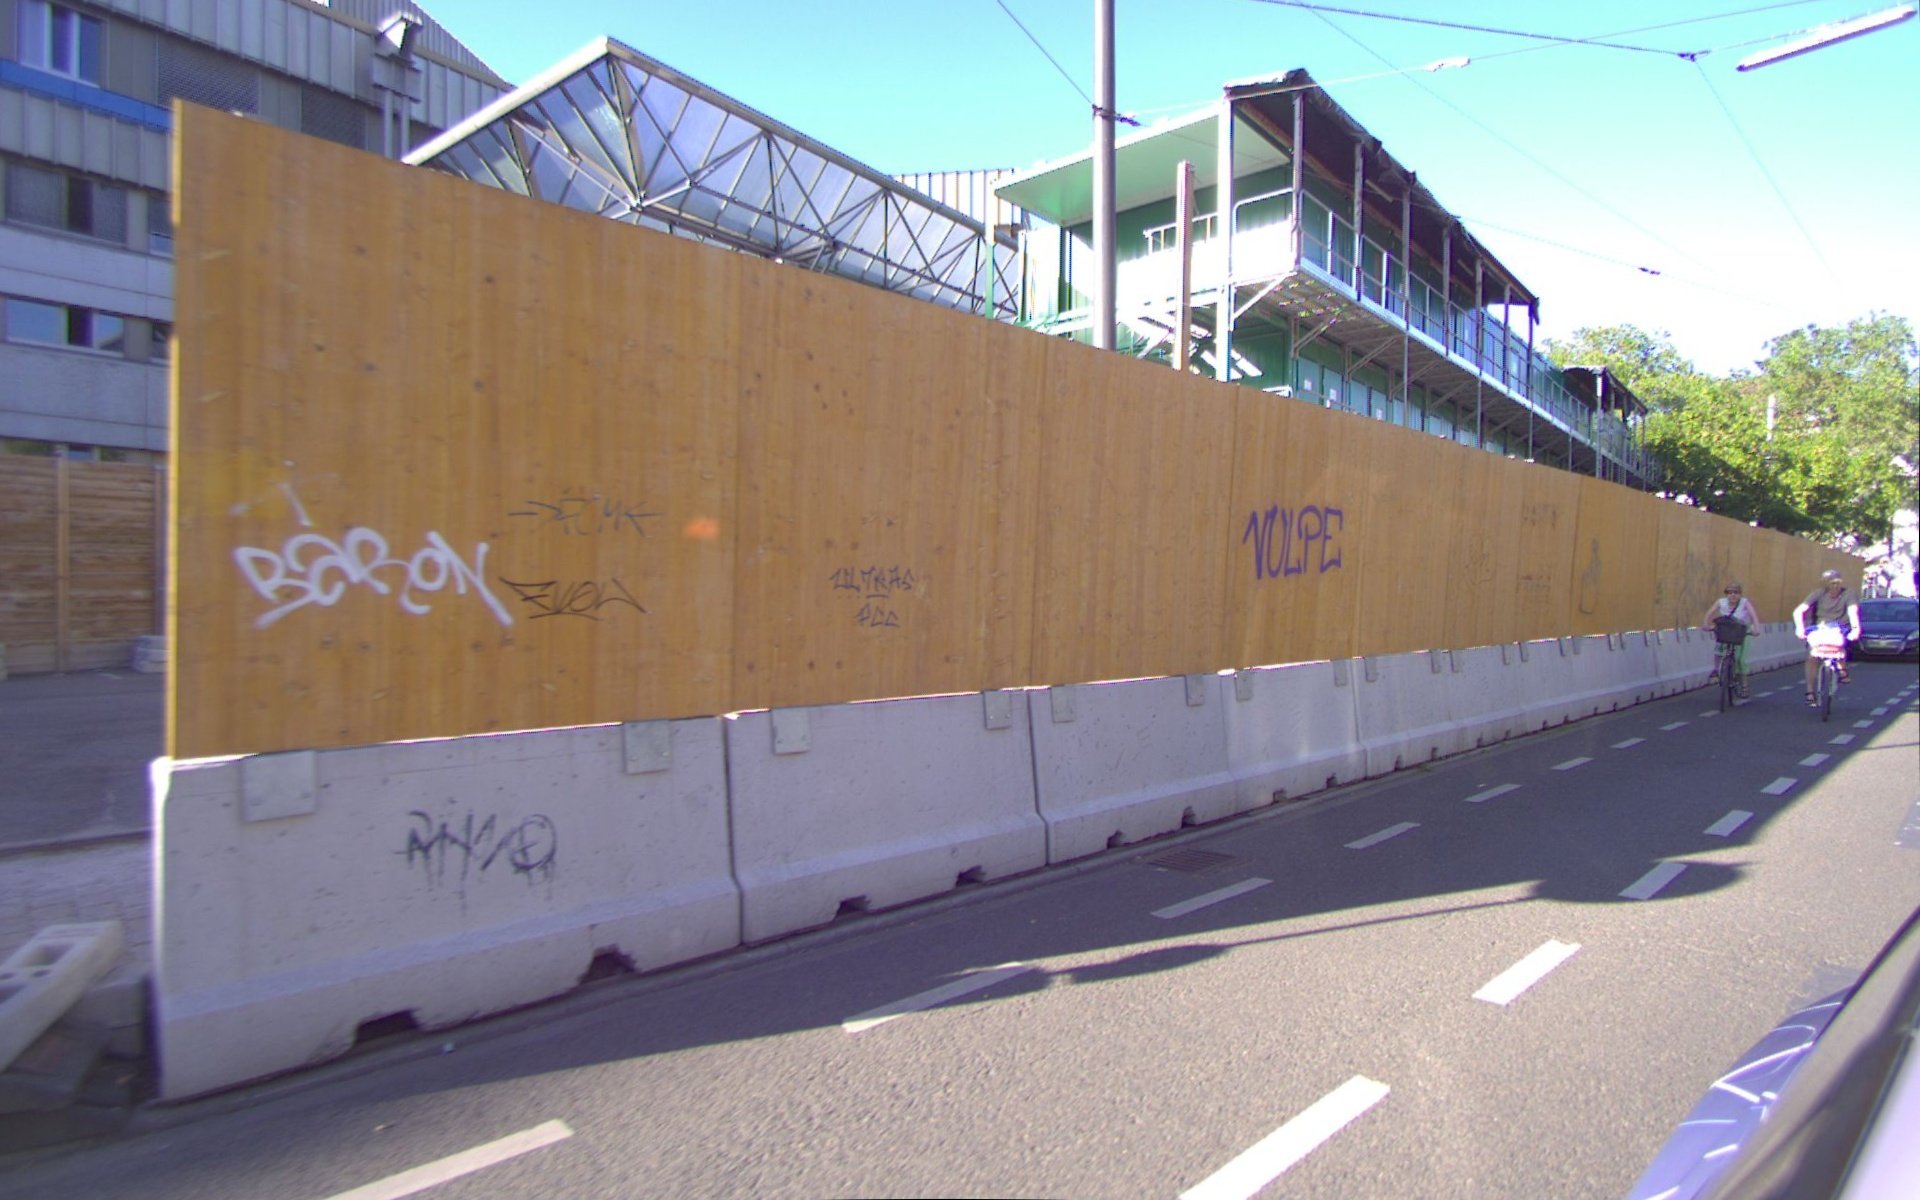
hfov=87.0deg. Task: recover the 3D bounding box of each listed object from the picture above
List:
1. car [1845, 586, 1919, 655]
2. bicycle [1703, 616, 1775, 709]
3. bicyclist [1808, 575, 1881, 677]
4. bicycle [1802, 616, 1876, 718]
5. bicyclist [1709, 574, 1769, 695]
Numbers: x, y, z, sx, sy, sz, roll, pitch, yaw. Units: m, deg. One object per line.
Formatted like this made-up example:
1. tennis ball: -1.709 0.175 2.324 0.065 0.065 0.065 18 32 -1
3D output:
1. car: 24.018 0.490 25.811 4.099 1.642 1.747 0 0 -43
2. bicycle: 10.719 0.811 13.899 0.557 1.141 2.240 1 0 43
3. bicyclist: 11.307 0.321 12.946 0.348 1.253 0.652 0 1 -44
4. bicycle: 11.304 0.809 12.993 0.667 1.169 2.241 -1 0 42
5. bicyclist: 10.801 0.460 14.034 0.567 1.633 0.556 0 1 -44
